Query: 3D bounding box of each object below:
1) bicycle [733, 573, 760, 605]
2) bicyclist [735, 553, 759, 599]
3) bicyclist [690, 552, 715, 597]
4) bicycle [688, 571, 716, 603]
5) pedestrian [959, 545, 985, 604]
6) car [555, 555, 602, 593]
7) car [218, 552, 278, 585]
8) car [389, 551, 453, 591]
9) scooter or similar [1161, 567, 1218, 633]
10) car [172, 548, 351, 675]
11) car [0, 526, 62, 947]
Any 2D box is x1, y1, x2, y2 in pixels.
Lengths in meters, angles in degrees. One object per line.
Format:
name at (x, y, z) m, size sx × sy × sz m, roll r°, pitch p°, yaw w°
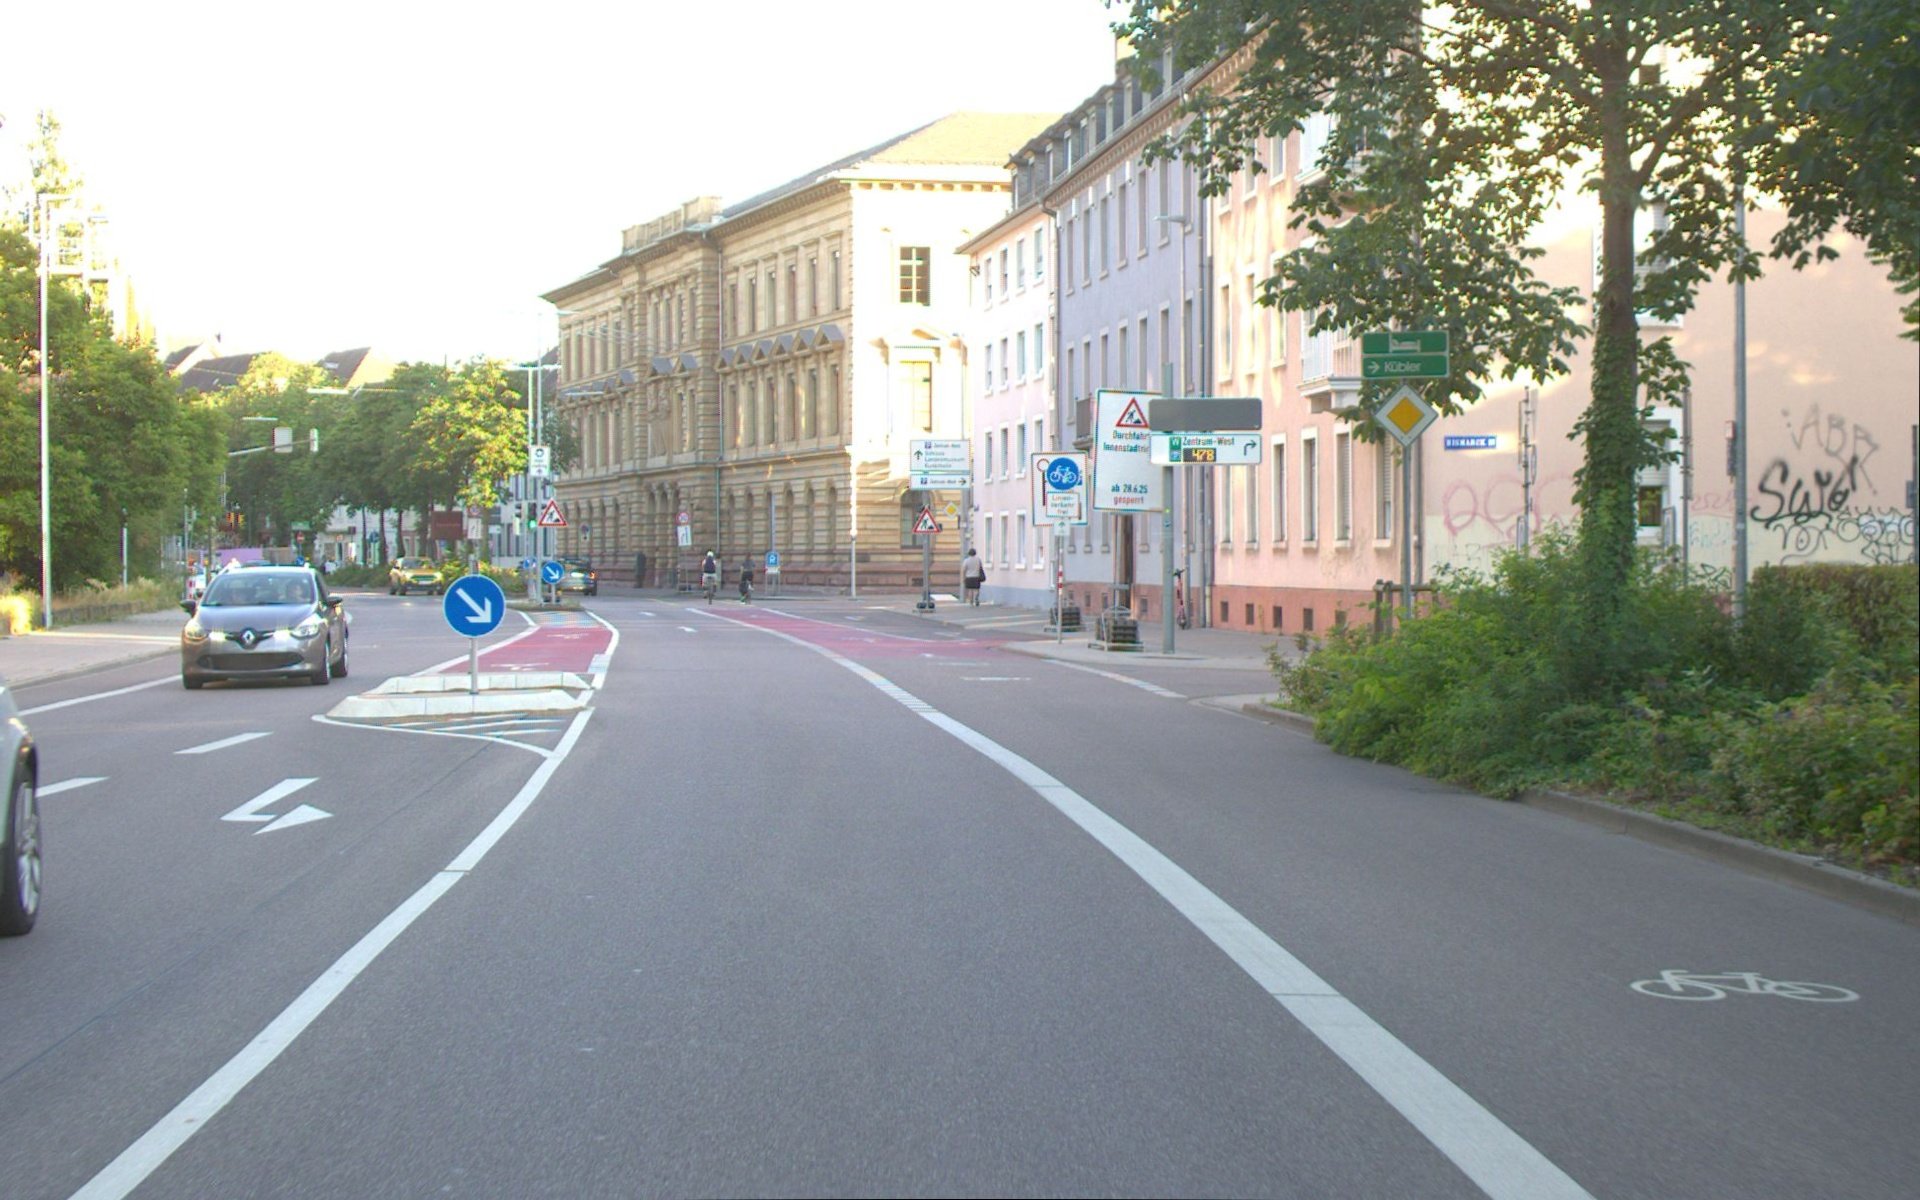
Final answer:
bicycle at (-6.960, -0.367, 112.124) m, size 0.652 × 1.012 × 2.198 m, roll 2°, pitch 1°, yaw 1°
bicyclist at (-6.948, -0.783, 112.065) m, size 0.652 × 1.470 × 0.941 m, roll 2°, pitch 1°, yaw 1°
bicyclist at (-8.399, -0.834, 112.150) m, size 0.652 × 1.441 × 0.879 m, roll 2°, pitch 1°, yaw 1°
bicycle at (-8.415, -0.429, 112.097) m, size 0.652 × 1.012 × 2.198 m, roll 2°, pitch 1°, yaw 1°
pedestrian at (0.363, -0.760, 102.906) m, size 0.762 × 1.749 × 0.845 m, roll 0°, pitch 0°, yaw 1°
car at (-15.730, -1.075, 141.957) m, size 1.867 × 1.505 × 4.001 m, roll 1°, pitch 0°, yaw -6°
car at (-35.726, -1.583, 172.471) m, size 1.993 × 1.579 × 4.001 m, roll 0°, pitch 1°, yaw -26°
car at (-21.812, -1.165, 139.010) m, size 1.993 × 1.579 × 4.001 m, roll 0°, pitch 1°, yaw -17°
scooter or similar at (4.744, -0.016, 71.318) m, size 0.629 × 1.332 × 2.401 m, roll 0°, pitch 1°, yaw -10°
car at (-8.544, 0.105, 42.296) m, size 1.835 × 1.434 × 4.001 m, roll -2°, pitch 1°, yaw -7°
car at (-4.378, 0.518, 12.111) m, size 1.848 × 1.521 × 4.001 m, roll -1°, pitch 1°, yaw -8°
